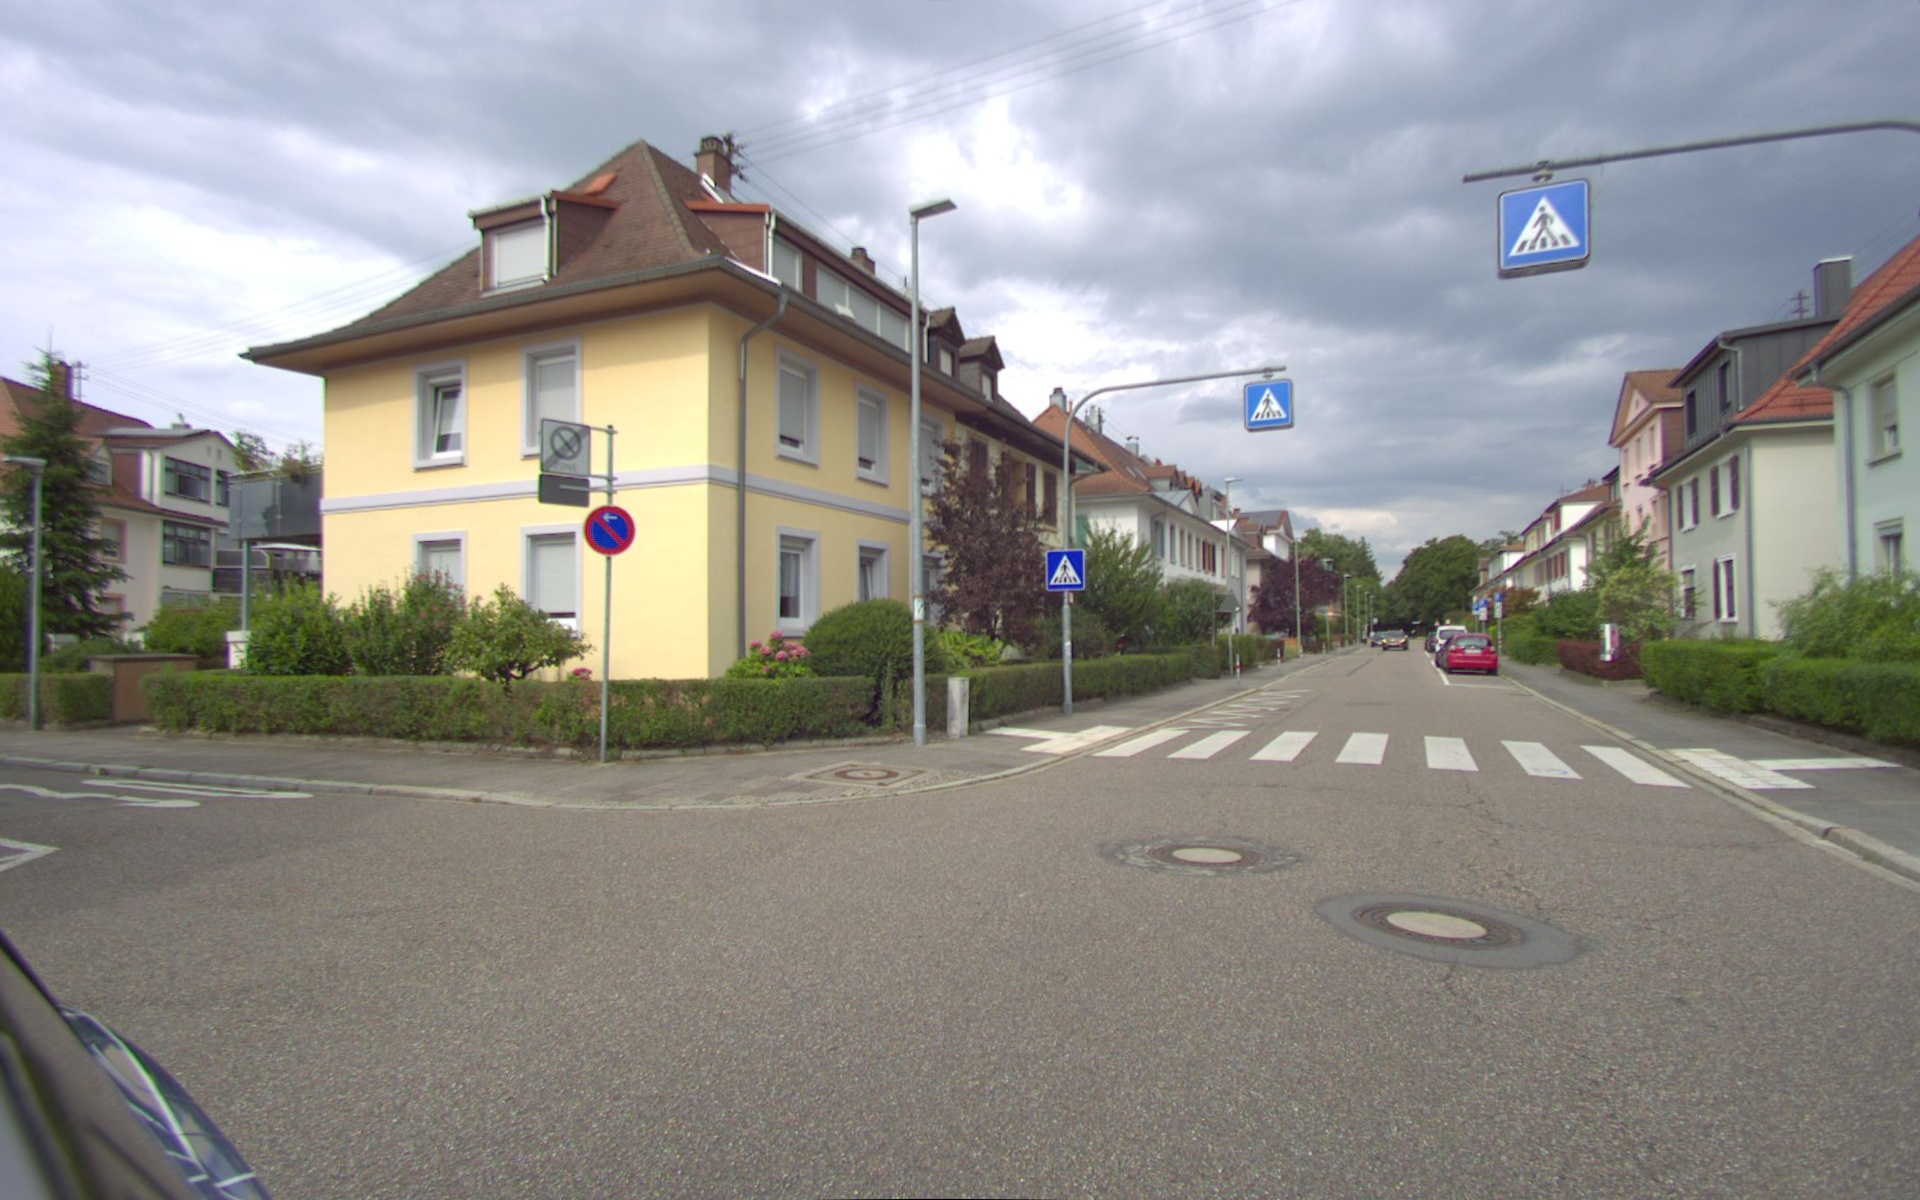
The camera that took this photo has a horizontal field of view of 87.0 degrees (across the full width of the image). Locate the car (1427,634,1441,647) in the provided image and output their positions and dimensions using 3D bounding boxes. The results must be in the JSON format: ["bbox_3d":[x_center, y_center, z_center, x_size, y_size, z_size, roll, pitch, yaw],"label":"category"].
[{"bbox_3d":[74.496,6.309,159.086,1.988,2.029,3.966,0,-2,25],"label":"car"}]

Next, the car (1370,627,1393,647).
[{"bbox_3d":[42.314,3.709,101.468,1.988,2.029,3.967,-1,-2,24],"label":"car"}]

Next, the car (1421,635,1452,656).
[{"bbox_3d":[36.256,3.463,77.087,1.988,1.586,3.967,-1,-2,24],"label":"car"}]

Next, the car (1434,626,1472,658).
[{"bbox_3d":[30.717,2.598,63.138,1.988,1.918,3.967,-1,-2,24],"label":"car"}]

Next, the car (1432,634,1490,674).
[{"bbox_3d":[20.994,2.243,42.554,1.988,1.586,3.967,-1,-2,24],"label":"car"}]

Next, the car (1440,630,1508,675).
[{"bbox_3d":[19.093,1.919,37.729,1.988,1.586,3.967,-1,-2,24],"label":"car"}]

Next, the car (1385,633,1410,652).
[{"bbox_3d":[36.459,3.557,84.378,1.825,1.497,3.968,0,-2,23],"label":"car"}]
